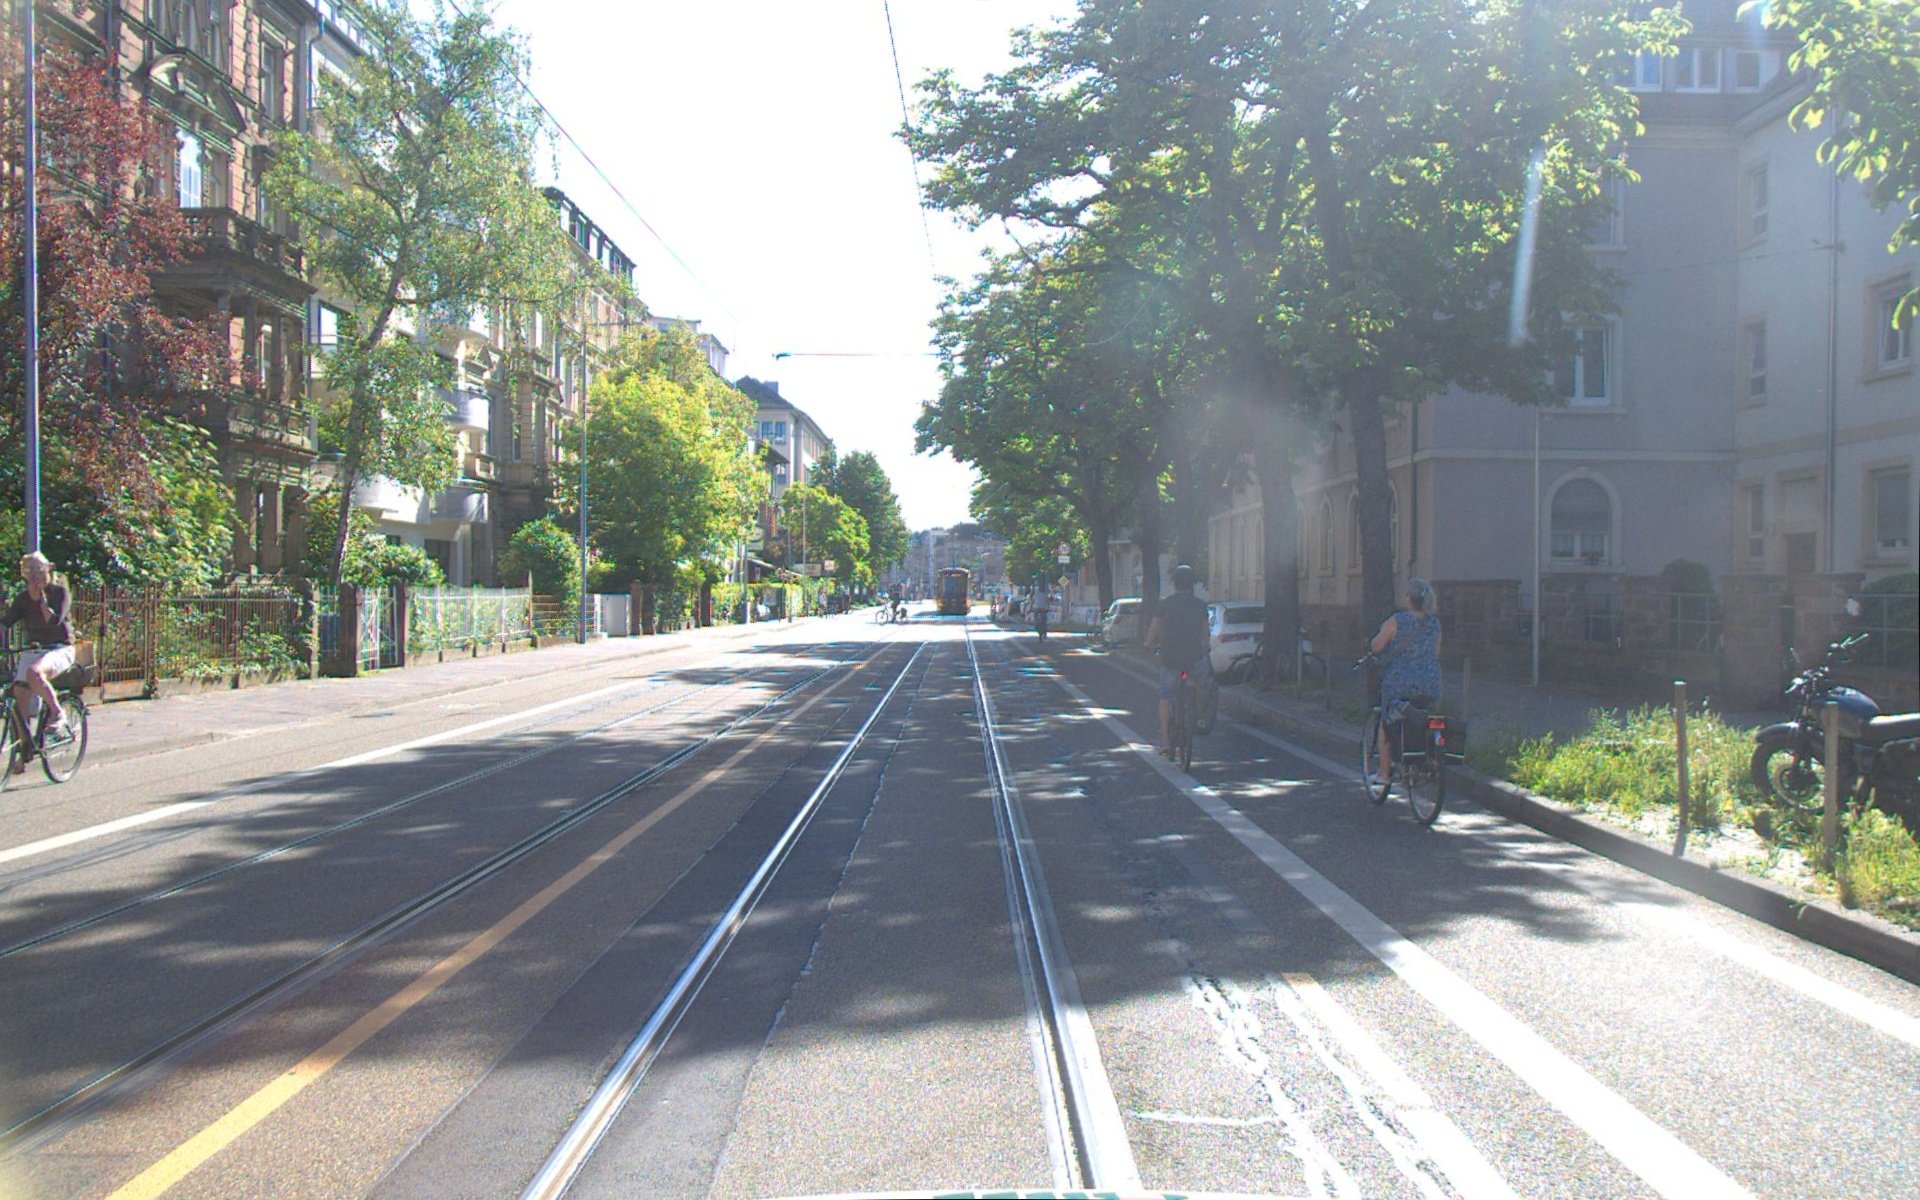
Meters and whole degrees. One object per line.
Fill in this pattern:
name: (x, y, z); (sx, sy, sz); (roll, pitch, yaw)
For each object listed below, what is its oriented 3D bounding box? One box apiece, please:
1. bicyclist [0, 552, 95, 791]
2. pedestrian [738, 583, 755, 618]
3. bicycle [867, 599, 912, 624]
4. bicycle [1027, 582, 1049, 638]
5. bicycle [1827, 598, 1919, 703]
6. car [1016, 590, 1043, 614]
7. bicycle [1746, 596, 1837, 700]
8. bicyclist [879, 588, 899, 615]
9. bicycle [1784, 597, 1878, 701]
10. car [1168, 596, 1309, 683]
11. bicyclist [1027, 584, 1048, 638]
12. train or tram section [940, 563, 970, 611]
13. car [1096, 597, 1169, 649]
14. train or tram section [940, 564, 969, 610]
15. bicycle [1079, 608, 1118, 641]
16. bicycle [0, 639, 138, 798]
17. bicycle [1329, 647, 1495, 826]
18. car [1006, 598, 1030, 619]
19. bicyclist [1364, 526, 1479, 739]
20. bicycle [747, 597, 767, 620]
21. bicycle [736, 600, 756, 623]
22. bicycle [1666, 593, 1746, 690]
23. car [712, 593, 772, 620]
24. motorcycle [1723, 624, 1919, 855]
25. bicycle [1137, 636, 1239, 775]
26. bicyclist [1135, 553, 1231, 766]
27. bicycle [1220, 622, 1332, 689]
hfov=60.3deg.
bicyclist: (-7.345, 0.556, 13.069); (0.647, 1.833, 0.616); (-2, 0, 0)
pedestrian: (-10.736, 0.026, 83.248); (0.754, 1.742, 0.669); (1, 0, 0)
bicycle: (-3.528, 0.576, 82.748); (2.094, 1.191, 0.803); (2, 0, 15)
bicycle: (2.665, 0.324, 56.965); (0.649, 1.891, 2.260); (1, 0, 1)
bicycle: (11.387, 0.606, 20.619); (0.425, 1.244, 1.373); (1, 0, 0)
car: (4.867, 0.133, 115.935); (1.718, 1.579, 3.677); (1, 0, 0)
bicycle: (10.360, 0.576, 20.651); (0.425, 1.244, 1.373); (1, 0, 0)
bicyclist: (-3.560, 0.065, 82.753); (0.756, 1.314, 0.734); (1, 0, 16)
bicycle: (10.845, 0.587, 20.629); (0.425, 1.244, 1.373); (1, 0, 0)
car: (5.082, 0.672, 30.803); (1.596, 1.461, 4.662); (-1, 1, -3)
bicyclist: (2.642, 0.365, 56.377); (0.632, 1.827, 0.955); (1, 0, -1)
train or tram section: (-0.400, -1.000, 125.069); (2.109, 3.491, 6.610); (1, 0, 0)
car: (5.114, 0.647, 49.458); (1.713, 1.445, 4.000); (-1, 0, -1)
train or tram section: (-0.454, -1.043, 131.716); (2.109, 3.491, 6.610); (1, 0, 0)
bicycle: (4.606, 0.803, 54.875); (1.243, 1.042, 0.704); (2, -1, 8)
bicycle: (-7.345, 0.913, 13.218); (0.677, 1.132, 1.718); (-1, 0, 0)
bicycle: (3.292, 0.956, 12.228); (0.677, 1.132, 1.917); (1, 0, 0)
car: (4.617, 0.676, 132.348); (1.718, 1.579, 3.677); (1, 0, 0)
bicyclist: (3.333, 0.227, 11.985); (0.622, 1.493, 0.616); (1, 0, 0)
bicycle: (-9.947, 0.414, 80.924); (0.623, 1.088, 1.822); (1, 0, -18)
bicycle: (-10.351, 0.550, 79.924); (0.622, 1.088, 1.823); (1, 0, -17)
bicycle: (9.954, 0.528, 22.099); (0.425, 1.244, 1.373); (1, 0, 0)
car: (-12.341, 0.391, 93.639); (1.744, 1.445, 3.527); (1, -2, -41)
motorcycle: (5.458, 0.793, 10.090); (0.486, 1.211, 1.859); (-4, 1, -7)
bicycle: (2.063, 0.934, 15.164); (0.677, 1.132, 1.718); (1, 0, 0)
bicyclist: (2.034, 0.530, 15.188); (0.712, 1.880, 0.836); (1, 0, -1)
bicycle: (5.336, 0.937, 27.971); (1.756, 1.037, 0.620); (-2, 0, -1)
